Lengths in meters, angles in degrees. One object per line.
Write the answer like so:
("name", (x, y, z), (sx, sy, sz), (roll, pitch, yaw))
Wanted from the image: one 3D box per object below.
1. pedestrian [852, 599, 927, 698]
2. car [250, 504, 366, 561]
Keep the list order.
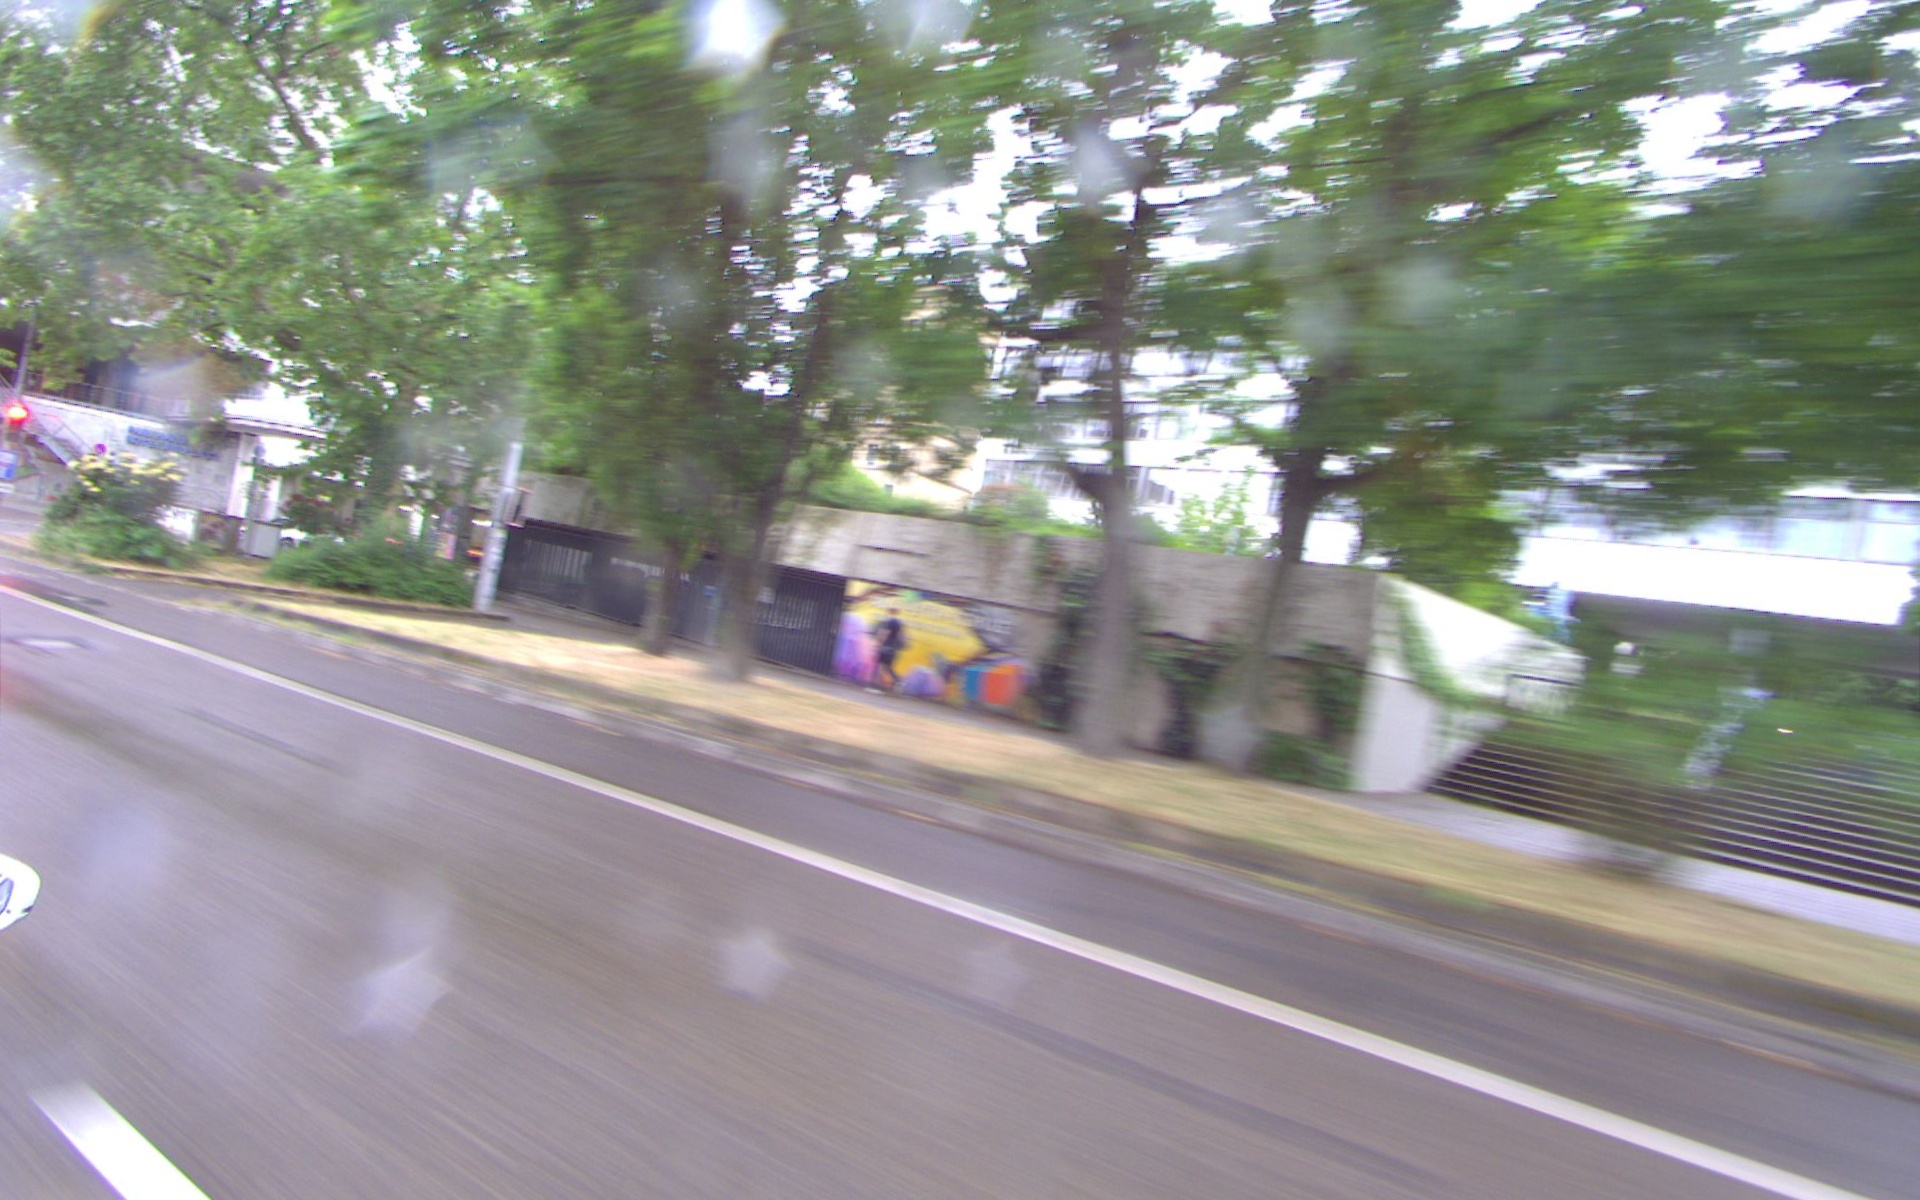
("pedestrian", (-1.463, 1.004, 20.892), (1.041, 1.886, 0.806), (8, 0, 41))
("car", (-28.719, -2.944, 44.517), (1.719, 1.702, 4.364), (9, -2, 7))
